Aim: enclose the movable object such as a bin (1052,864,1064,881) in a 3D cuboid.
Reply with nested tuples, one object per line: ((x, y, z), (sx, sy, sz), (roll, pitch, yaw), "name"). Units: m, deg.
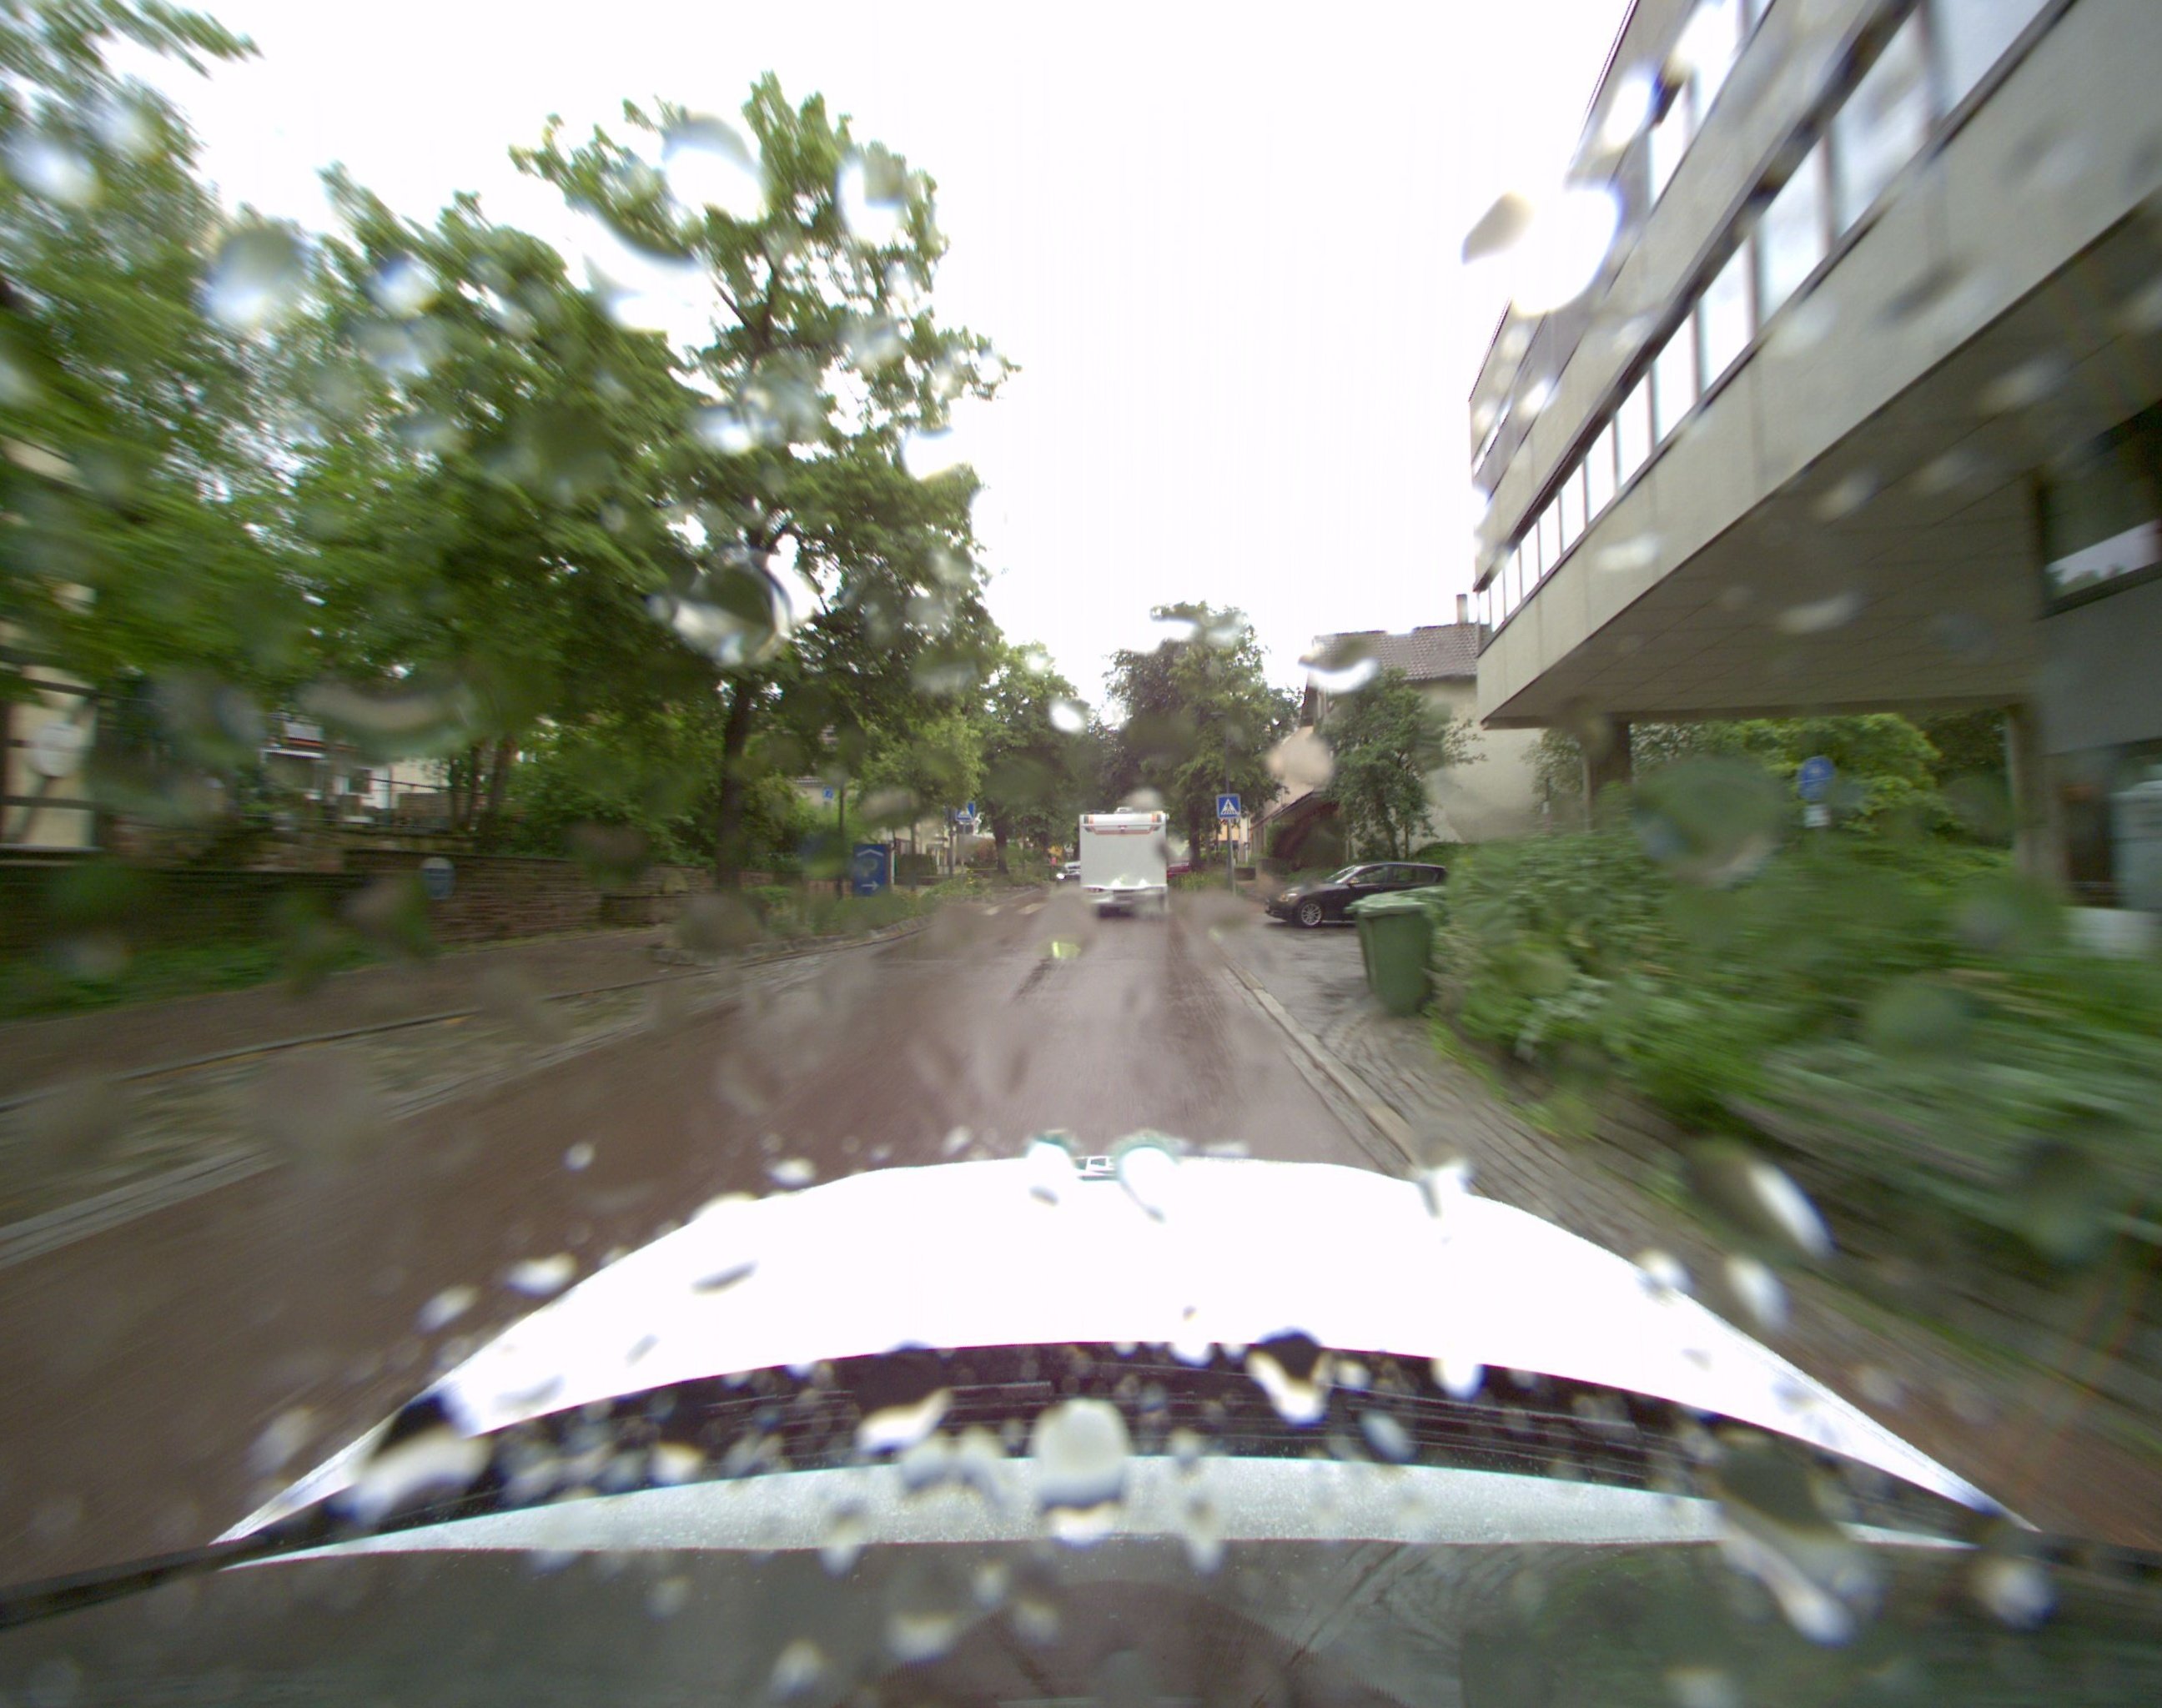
((-1.468, 1.200, 52.663), (0.667, 1.095, 0.818), (-1, -2, 3), "movable object such as a bin")

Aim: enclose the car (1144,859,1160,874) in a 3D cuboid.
((7.452, 1.316, 85.506), (1.642, 1.542, 3.534), (-2, -2, 4), "car")

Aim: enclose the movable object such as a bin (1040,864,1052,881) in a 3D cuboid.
((-2.248, 1.216, 52.725), (0.667, 1.105, 0.818), (-1, -2, 3), "movable object such as a bin")

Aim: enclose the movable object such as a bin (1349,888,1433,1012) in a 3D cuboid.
((2.985, 0.904, 7.878), (0.698, 1.124, 0.574), (-2, -2, 19), "movable object such as a bin")

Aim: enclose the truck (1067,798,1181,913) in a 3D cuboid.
((1.250, 0.118, 23.411), (2.794, 2.797, 6.111), (-1, -2, 3), "truck")

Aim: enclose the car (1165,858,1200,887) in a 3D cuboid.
((5.618, 0.997, 45.407), (1.846, 1.472, 4.373), (1, 0, 6), "car")

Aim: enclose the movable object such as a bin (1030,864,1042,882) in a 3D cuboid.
((-2.925, 1.240, 53.236), (0.667, 1.105, 0.818), (-1, -2, 3), "movable object such as a bin")

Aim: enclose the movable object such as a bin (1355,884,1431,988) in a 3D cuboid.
((3.527, 0.909, 9.201), (0.697, 1.111, 0.575), (-2, -2, 28), "movable object such as a bin")

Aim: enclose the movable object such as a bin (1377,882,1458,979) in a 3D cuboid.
((4.056, 0.896, 9.815), (0.574, 1.103, 0.697), (0, -3, -44), "movable object such as a bin")

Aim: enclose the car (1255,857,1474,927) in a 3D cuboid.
((6.174, 0.803, 18.134), (4.266, 1.417, 1.841), (1, 0, 2), "car")

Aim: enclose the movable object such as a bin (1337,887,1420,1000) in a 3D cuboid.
((3.120, 0.913, 8.529), (0.697, 1.107, 0.575), (-2, -2, 30), "movable object such as a bin")

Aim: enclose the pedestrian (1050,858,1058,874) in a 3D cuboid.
((-3.171, 1.454, 96.441), (0.813, 1.844, 0.770), (-1, -2, 3), "pedestrian")

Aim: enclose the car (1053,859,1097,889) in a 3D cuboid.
((-0.245, 0.992, 41.369), (1.847, 1.385, 4.414), (1, 0, 4), "car")
